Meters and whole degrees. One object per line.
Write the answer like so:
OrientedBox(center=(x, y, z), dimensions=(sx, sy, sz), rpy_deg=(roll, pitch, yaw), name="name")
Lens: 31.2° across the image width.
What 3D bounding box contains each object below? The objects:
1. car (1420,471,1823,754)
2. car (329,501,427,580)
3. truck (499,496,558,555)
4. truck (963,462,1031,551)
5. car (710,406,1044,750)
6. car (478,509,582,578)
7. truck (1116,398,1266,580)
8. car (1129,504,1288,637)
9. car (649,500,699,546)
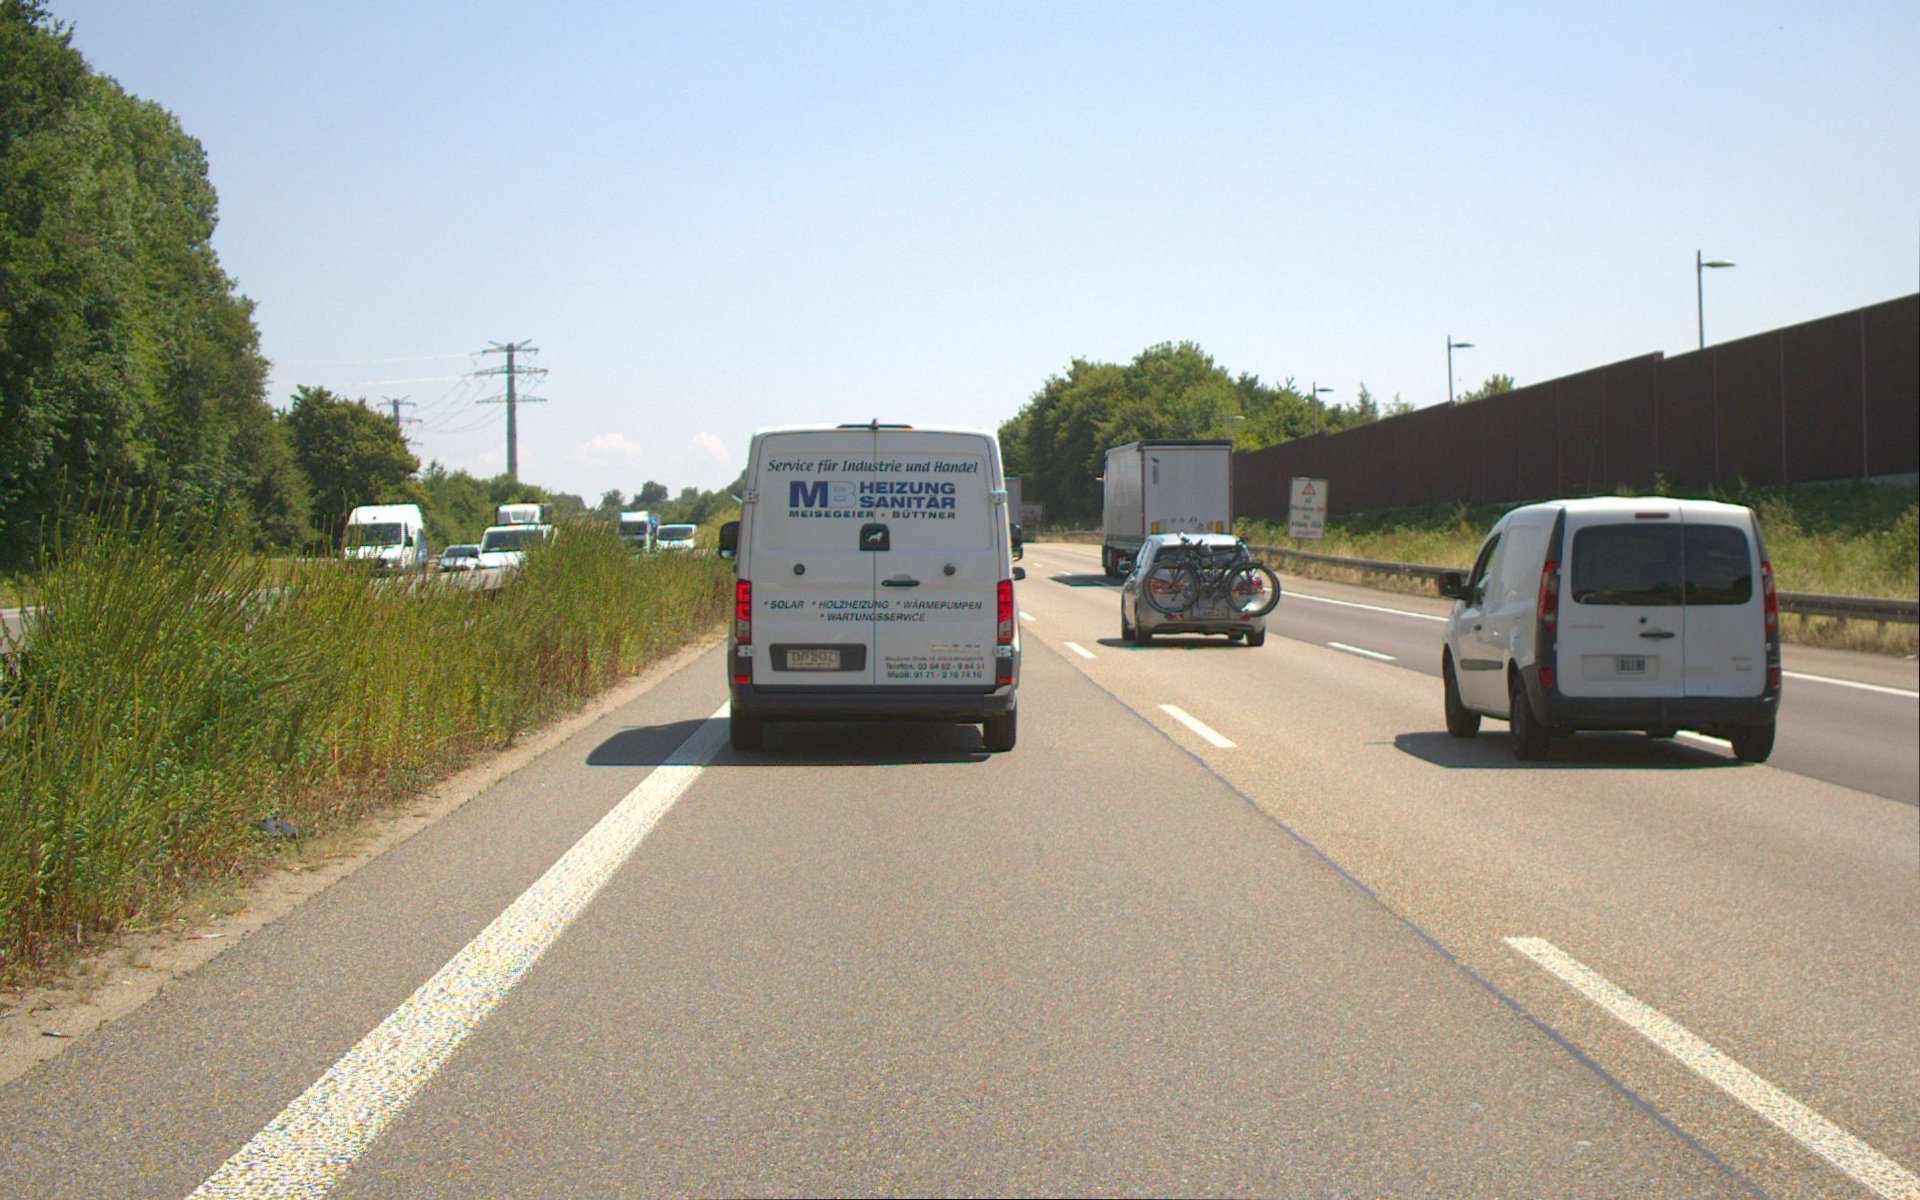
OrientedBox(center=(4.635, 0.071, 24.713), dimensions=(1.950, 1.831, 4.178), rpy_deg=(-1, 0, -2), name="car")
OrientedBox(center=(-17.970, -1.844, 106.368), dimensions=(2.124, 2.331, 5.085), rpy_deg=(-2, 1, -1), name="car")
OrientedBox(center=(-20.912, -3.603, 166.779), dimensions=(1.993, 2.732, 5.858), rpy_deg=(1, 0, 1), name="truck")
OrientedBox(center=(2.263, -5.499, 205.639), dimensions=(3.788, 4.983, 12.518), rpy_deg=(1, 0, 1), name="truck")
OrientedBox(center=(-0.718, -0.163, 25.427), dimensions=(2.181, 2.246, 5.364), rpy_deg=(1, 0, -4), name="car")
OrientedBox(center=(-10.501, -1.401, 84.295), dimensions=(1.993, 1.582, 4.426), rpy_deg=(-2, 1, -1), name="car")
OrientedBox(center=(6.712, -3.128, 101.844), dimensions=(3.788, 4.983, 12.518), rpy_deg=(1, 0, 1), name="truck")
OrientedBox(center=(3.392, -0.405, 47.650), dimensions=(1.976, 1.727, 4.088), rpy_deg=(-1, 0, 1), name="car")
OrientedBox(center=(-12.705, -3.411, 152.689), dimensions=(1.993, 2.007, 4.001), rpy_deg=(-1, 1, -2), name="car")
